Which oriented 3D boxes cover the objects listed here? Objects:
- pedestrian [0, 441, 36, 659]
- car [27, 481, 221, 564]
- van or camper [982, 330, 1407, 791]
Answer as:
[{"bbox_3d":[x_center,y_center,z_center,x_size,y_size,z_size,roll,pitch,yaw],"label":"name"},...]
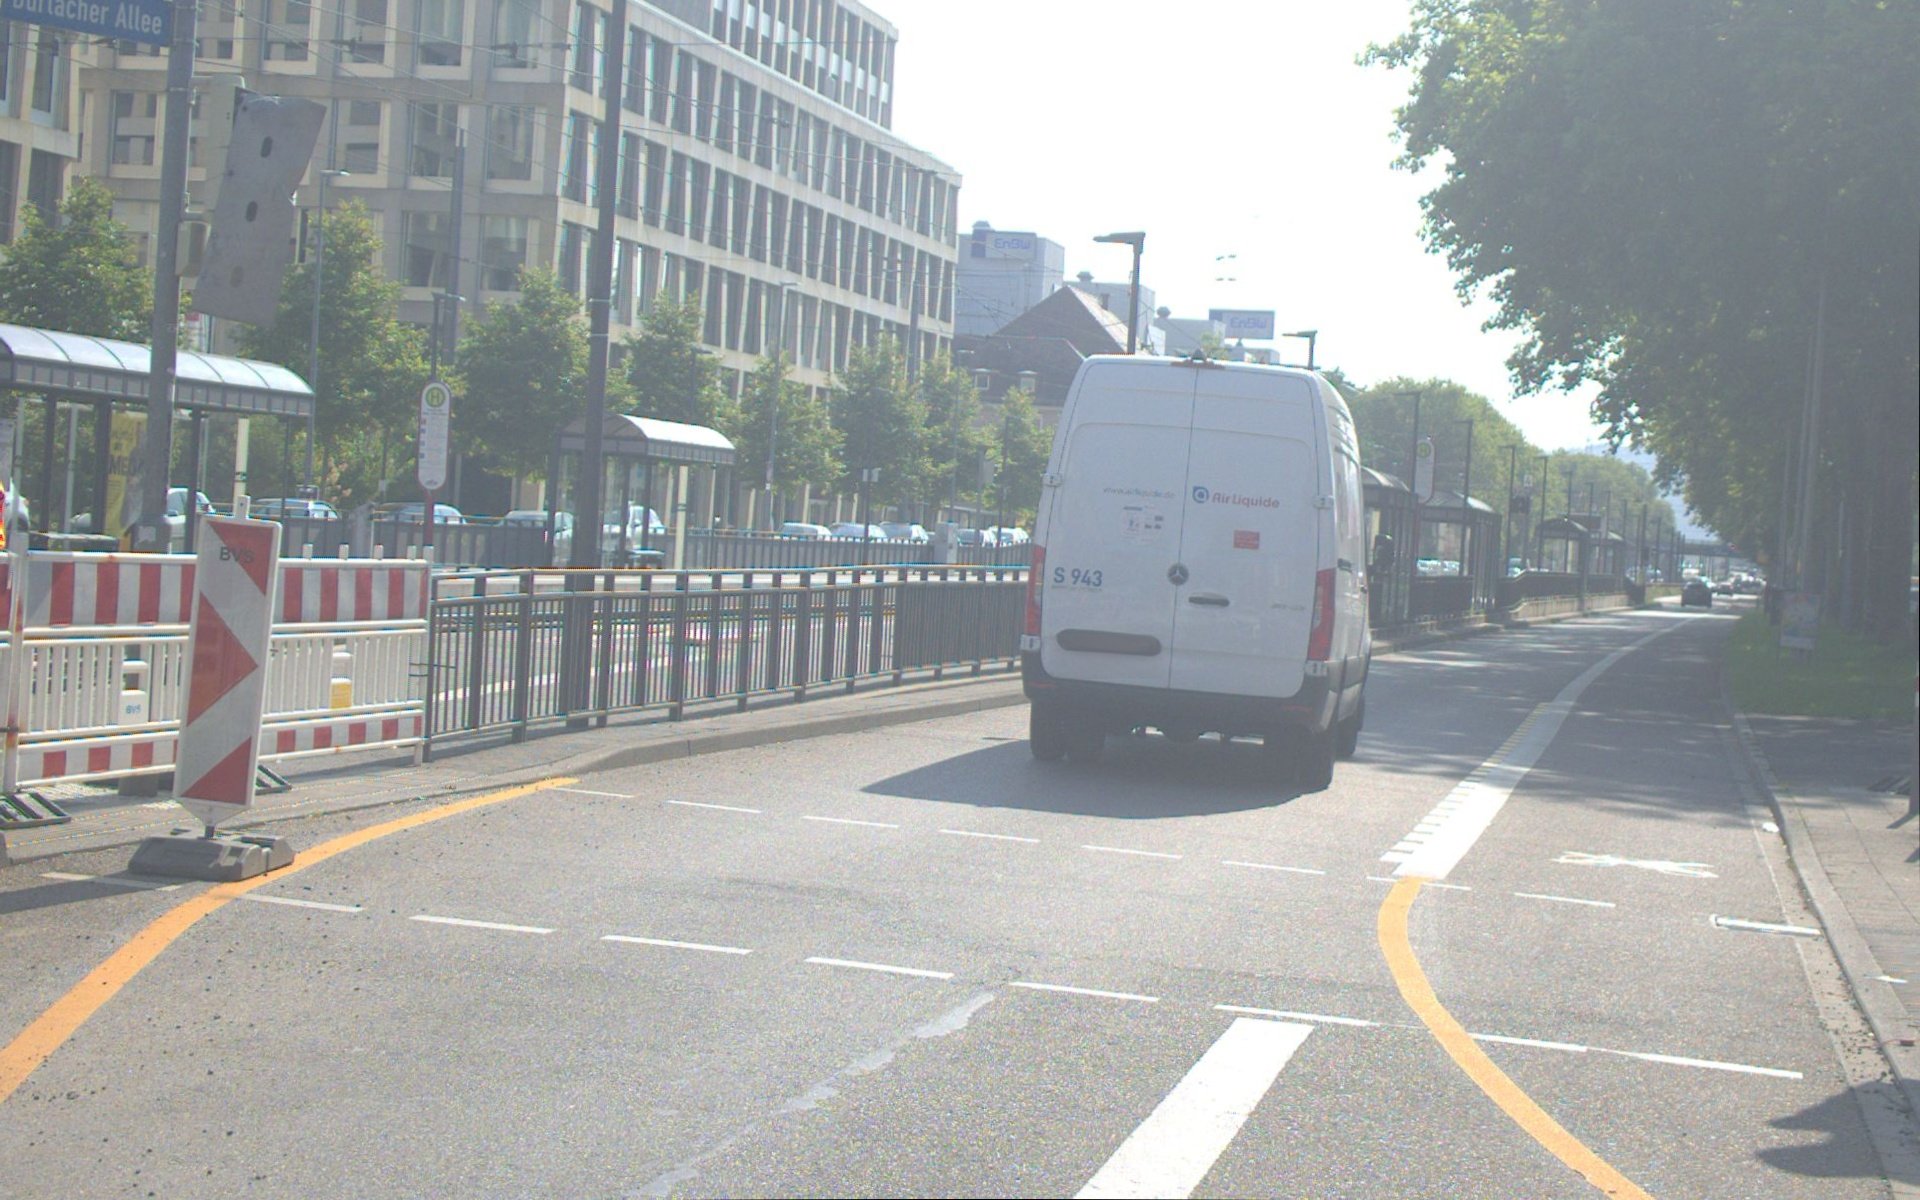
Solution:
[{"bbox_3d":[-8.851,-0.463,30.739,0.724,1.944,0.787,3,2,28],"label":"pedestrian"},{"bbox_3d":[-15.297,-1.412,63.154,1.685,1.402,4.371,3,1,12],"label":"car"},{"bbox_3d":[1.759,-0.289,23.663,2.116,2.672,5.248,4,2,11],"label":"van or camper"}]
